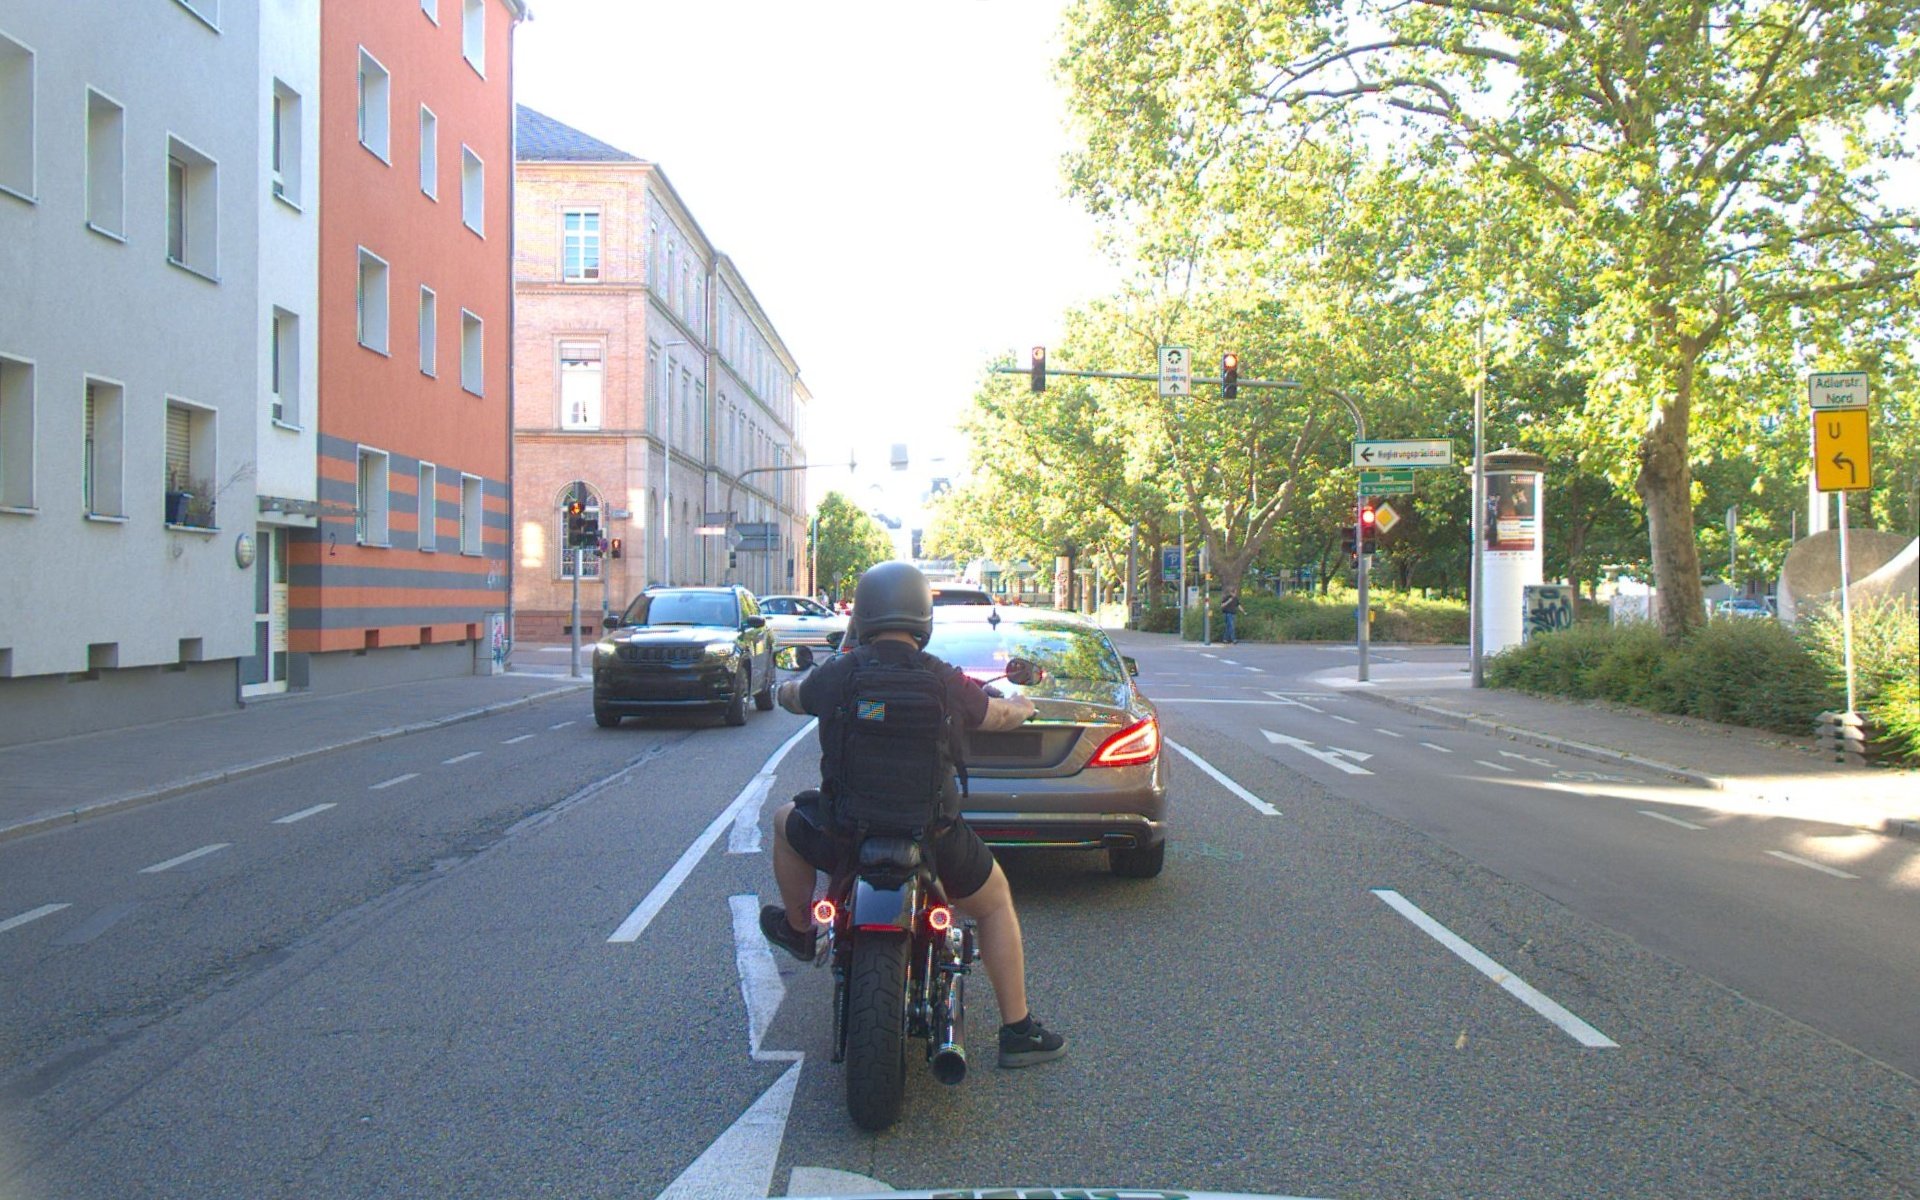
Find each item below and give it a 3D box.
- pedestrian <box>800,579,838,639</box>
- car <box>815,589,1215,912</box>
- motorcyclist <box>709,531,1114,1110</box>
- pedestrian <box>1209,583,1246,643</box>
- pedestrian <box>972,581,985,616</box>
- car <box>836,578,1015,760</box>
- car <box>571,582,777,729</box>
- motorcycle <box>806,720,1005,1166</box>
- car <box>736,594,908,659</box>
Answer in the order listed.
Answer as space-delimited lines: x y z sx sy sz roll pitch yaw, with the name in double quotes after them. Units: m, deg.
-4.393 0.281 51.678 0.980 1.858 1.077 1 0 5 "pedestrian"
0.233 0.693 9.625 1.844 1.475 3.819 1 0 -1 "car"
-0.145 0.631 5.344 1.125 1.626 1.288 1 0 -1 "motorcyclist"
8.735 0.425 53.989 0.909 1.943 0.748 1 -1 40 "pedestrian"
1.122 -0.088 100.835 0.748 2.087 0.712 1 -1 -1 "pedestrian"
-0.333 0.605 16.734 1.588 1.622 3.999 0 0 -1 "car"
-3.416 0.622 20.546 1.812 1.597 4.384 1 0 -1 "car"
-0.157 0.969 5.326 0.503 1.020 2.013 1 0 -1 "motorcycle"
-3.577 0.682 42.776 4.067 1.602 1.845 1 0 -24 "car"
